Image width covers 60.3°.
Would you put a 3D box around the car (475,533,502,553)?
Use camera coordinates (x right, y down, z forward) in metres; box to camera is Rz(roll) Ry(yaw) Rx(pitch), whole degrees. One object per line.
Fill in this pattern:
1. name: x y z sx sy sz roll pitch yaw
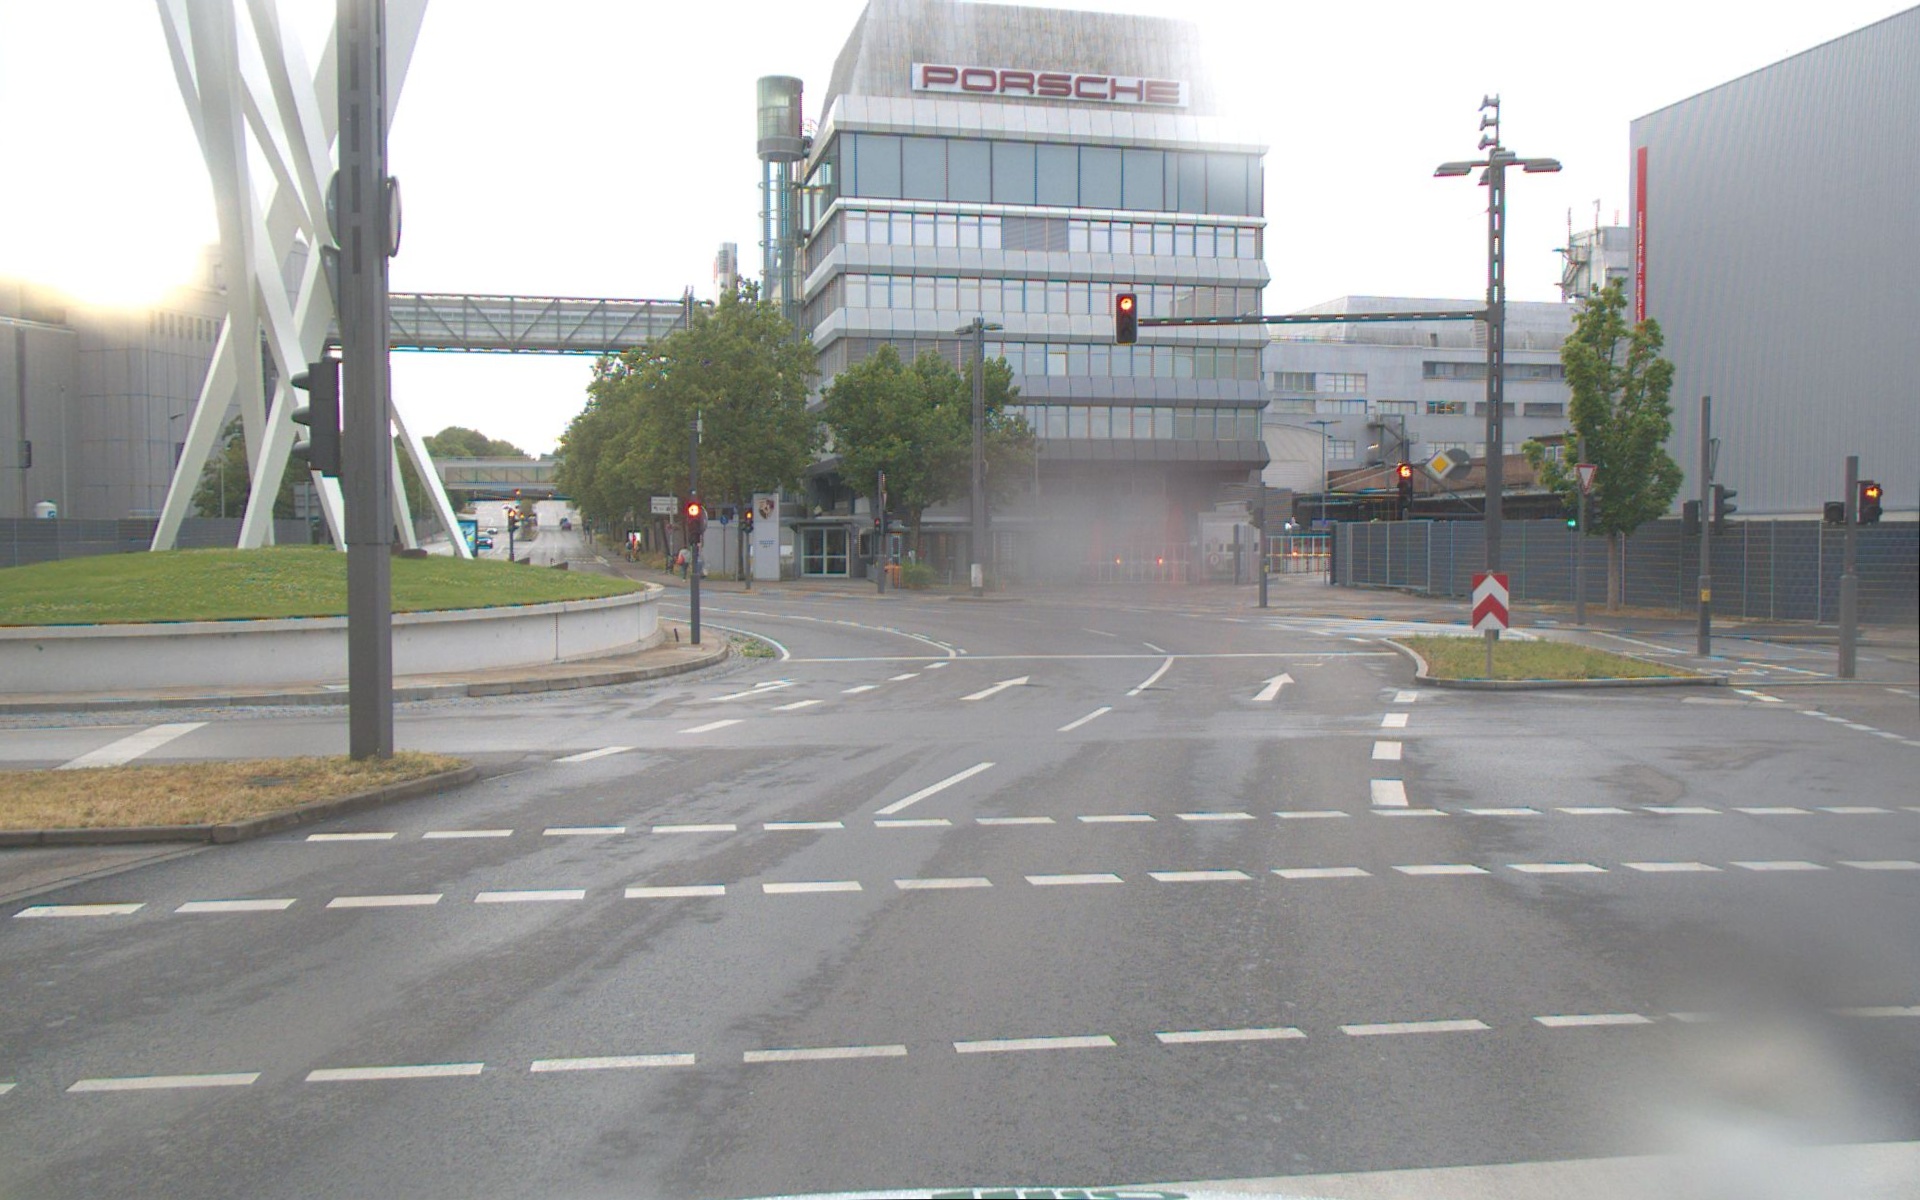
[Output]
1. car: -52.811 -6.402 185.398 1.953 2.049 3.999 1 0 -1

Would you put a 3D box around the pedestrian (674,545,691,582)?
1. pedestrian: -12.402 -1.644 73.925 0.696 1.619 0.839 -1 2 -10

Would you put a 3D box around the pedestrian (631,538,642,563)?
1. pedestrian: -23.124 -3.530 118.223 0.699 1.770 0.757 1 -1 -14

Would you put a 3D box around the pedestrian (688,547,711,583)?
1. pedestrian: -11.529 -1.557 73.225 0.821 1.547 0.835 -1 2 -25
